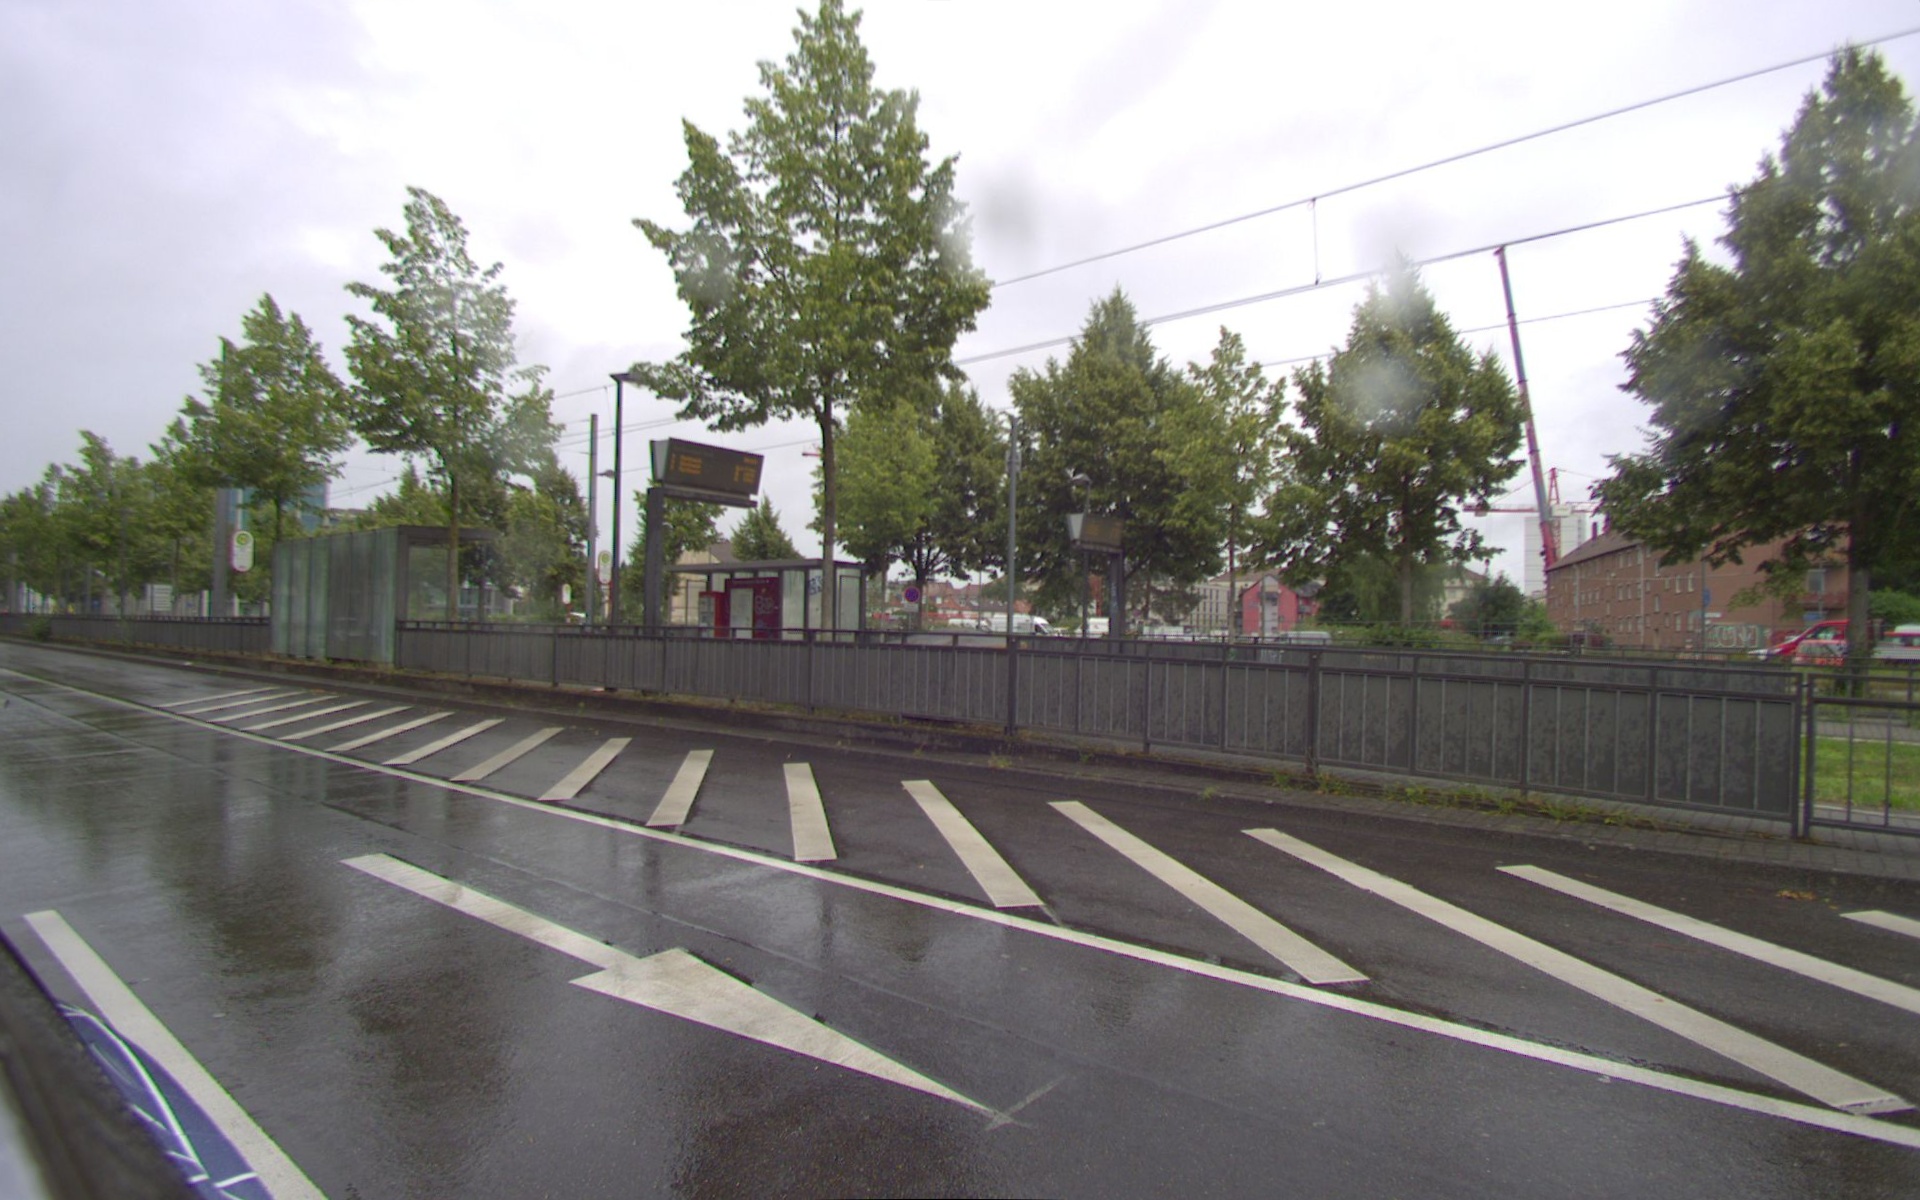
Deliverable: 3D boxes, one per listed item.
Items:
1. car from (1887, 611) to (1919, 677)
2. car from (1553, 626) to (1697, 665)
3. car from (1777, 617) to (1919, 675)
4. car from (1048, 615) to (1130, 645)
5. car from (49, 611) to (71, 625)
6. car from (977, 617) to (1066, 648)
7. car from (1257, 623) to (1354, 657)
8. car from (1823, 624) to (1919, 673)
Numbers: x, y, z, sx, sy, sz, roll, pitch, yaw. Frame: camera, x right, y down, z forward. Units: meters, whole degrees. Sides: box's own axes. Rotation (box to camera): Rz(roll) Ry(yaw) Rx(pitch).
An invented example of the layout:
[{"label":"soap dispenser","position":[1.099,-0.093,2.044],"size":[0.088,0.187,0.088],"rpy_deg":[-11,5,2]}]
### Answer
[{"label":"car","position":[46.001,2.007,45.228],"size":[2.319,2.961,6.441],"rpy_deg":[-1,0,-38]},{"label":"car","position":[36.995,2.507,56.552],"size":[6.393,2.029,2.336],"rpy_deg":[-1,0,26]},{"label":"car","position":[34.798,1.687,37.690],"size":[2.319,2.029,6.441],"rpy_deg":[-1,0,-38]},{"label":"car","position":[11.319,2.606,89.348],"size":[6.822,2.495,2.471],"rpy_deg":[-1,0,36]},{"label":"car","position":[-131.705,2.610,148.076],"size":[3.999,2.029,1.972],"rpy_deg":[-1,0,42]},{"label":"car","position":[5.177,2.686,86.100],"size":[7.627,2.495,2.327],"rpy_deg":[-1,0,38]},{"label":"car","position":[26.621,3.070,78.031],"size":[6.804,2.495,2.335],"rpy_deg":[0,-2,28]},{"label":"car","position":[40.088,2.001,41.760],"size":[2.319,2.029,6.440],"rpy_deg":[2,-3,-38]}]
